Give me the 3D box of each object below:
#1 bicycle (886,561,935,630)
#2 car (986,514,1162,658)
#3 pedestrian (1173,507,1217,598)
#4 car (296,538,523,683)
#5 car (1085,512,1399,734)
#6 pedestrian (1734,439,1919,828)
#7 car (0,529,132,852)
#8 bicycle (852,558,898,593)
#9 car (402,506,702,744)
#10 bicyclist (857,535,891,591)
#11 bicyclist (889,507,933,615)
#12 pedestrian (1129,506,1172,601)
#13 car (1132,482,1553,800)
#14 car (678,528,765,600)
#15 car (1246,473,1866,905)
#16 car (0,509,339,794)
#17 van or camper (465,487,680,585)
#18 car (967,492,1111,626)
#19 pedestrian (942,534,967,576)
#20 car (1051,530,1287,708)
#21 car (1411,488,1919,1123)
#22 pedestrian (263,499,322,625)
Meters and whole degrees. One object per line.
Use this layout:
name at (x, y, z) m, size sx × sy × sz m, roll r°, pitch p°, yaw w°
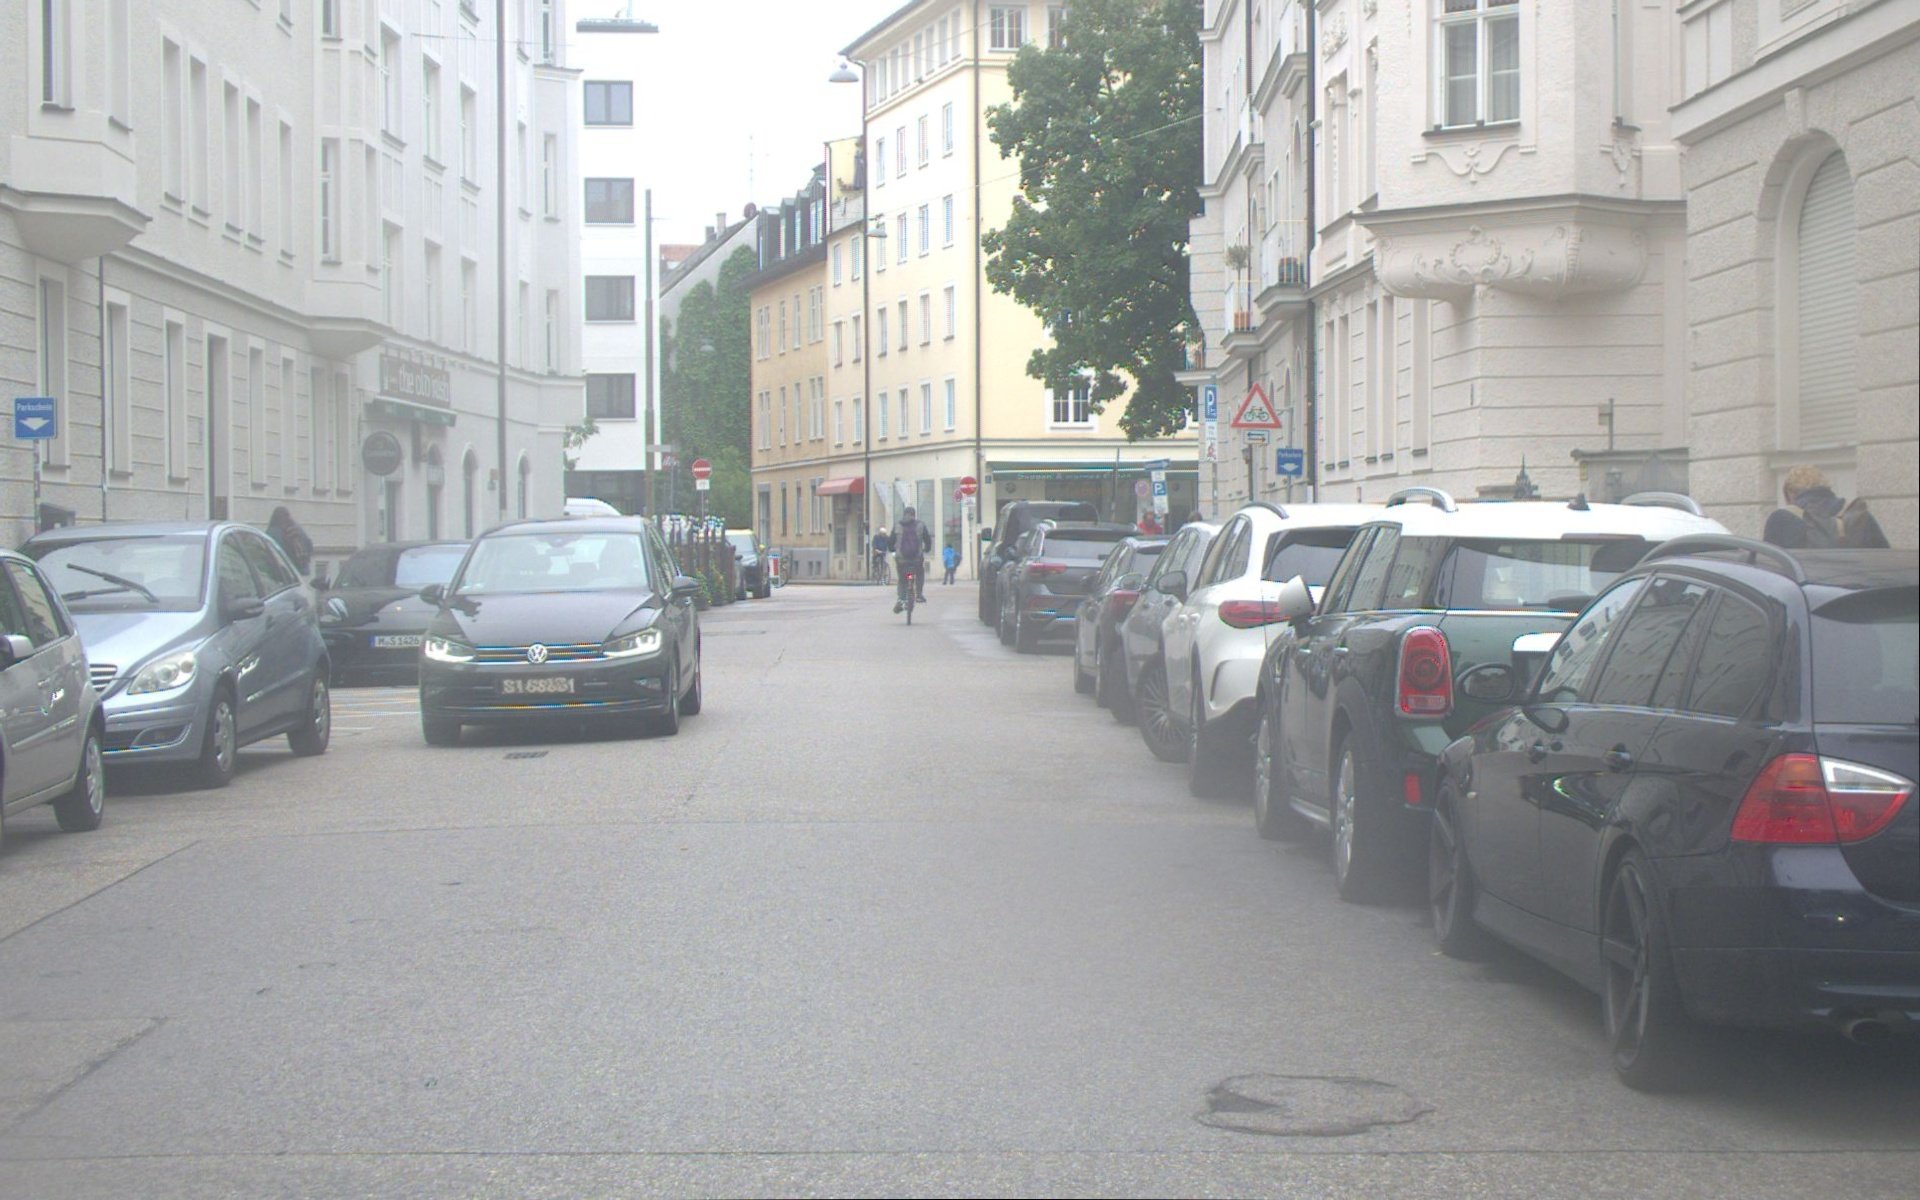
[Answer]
bicycle at (-0.737, -0.075, 51.502) m, size 0.639 × 1.001 × 1.574 m, roll 0°, pitch 1°, yaw 3°
car at (1.311, -0.207, 41.153) m, size 1.707 × 1.582 × 4.001 m, roll 2°, pitch 1°, yaw -3°
pedestrian at (4.346, -0.879, 63.706) m, size 0.679 × 1.668 × 0.654 m, roll -2°, pitch 1°, yaw -4°
car at (-5.564, 0.059, 35.250) m, size 1.849 × 1.362 × 4.703 m, roll 1°, pitch 1°, yaw -4°
car at (2.016, 0.128, 25.681) m, size 1.708 × 1.496 × 4.001 m, roll 1°, pitch 1°, yaw -4°
pedestrian at (4.133, 0.142, 16.268) m, size 0.682 × 1.769 × 0.855 m, roll -2°, pitch 2°, yaw -1°
car at (-5.092, 0.394, 16.172) m, size 1.644 × 1.398 × 4.001 m, roll -2°, pitch 1°, yaw -4°
bicycle at (-2.519, -0.729, 101.436) m, size 0.846 × 0.998 × 2.170 m, roll 1°, pitch 1°, yaw -15°
car at (-2.862, 0.134, 24.880) m, size 1.724 × 1.528 × 4.086 m, roll -2°, pitch 1°, yaw -1°
bicyclist at (-2.551, -1.103, 101.553) m, size 0.781 × 1.632 × 0.976 m, roll 1°, pitch 1°, yaw -15°
bicyclist at (-0.736, -0.594, 51.499) m, size 0.606 × 1.601 × 0.757 m, roll 0°, pitch 1°, yaw 3°
pedestrian at (3.497, -0.853, 63.204) m, size 0.703 × 1.722 × 0.703 m, roll -1°, pitch 1°, yaw -4°
car at (2.083, 0.140, 19.932) m, size 1.895 × 1.630 × 4.392 m, roll 0°, pitch 2°, yaw 0°
car at (-5.529, -0.844, 80.020) m, size 1.676 × 1.591 × 3.945 m, roll -2°, pitch 1°, yaw 0°
car at (2.299, 0.277, 14.349) m, size 1.748 × 1.519 × 4.170 m, roll 1°, pitch 1°, yaw -1°
car at (-5.082, 0.243, 21.493) m, size 1.696 × 1.575 × 4.062 m, roll -2°, pitch 2°, yaw -1°
van or camper at (-10.837, -1.765, 96.024) m, size 5.903 × 2.668 × 1.873 m, roll 0°, pitch -1°, yaw -9°
car at (1.173, -0.645, 53.062) m, size 1.911 × 1.879 × 4.714 m, roll 3°, pitch 1°, yaw -1°
pedestrian at (-0.170, -1.357, 103.063) m, size 0.699 × 1.266 × 0.651 m, roll 0°, pitch 1°, yaw 3°
car at (1.747, 0.114, 29.890) m, size 1.612 × 1.390 × 4.001 m, roll 2°, pitch 1°, yaw -2°
car at (2.524, 0.426, 10.008) m, size 1.711 × 1.447 × 4.225 m, roll 1°, pitch 2°, yaw -2°
pedestrian at (-9.114, -0.526, 46.939) m, size 0.697 × 1.701 × 0.665 m, roll 1°, pitch 1°, yaw -4°
